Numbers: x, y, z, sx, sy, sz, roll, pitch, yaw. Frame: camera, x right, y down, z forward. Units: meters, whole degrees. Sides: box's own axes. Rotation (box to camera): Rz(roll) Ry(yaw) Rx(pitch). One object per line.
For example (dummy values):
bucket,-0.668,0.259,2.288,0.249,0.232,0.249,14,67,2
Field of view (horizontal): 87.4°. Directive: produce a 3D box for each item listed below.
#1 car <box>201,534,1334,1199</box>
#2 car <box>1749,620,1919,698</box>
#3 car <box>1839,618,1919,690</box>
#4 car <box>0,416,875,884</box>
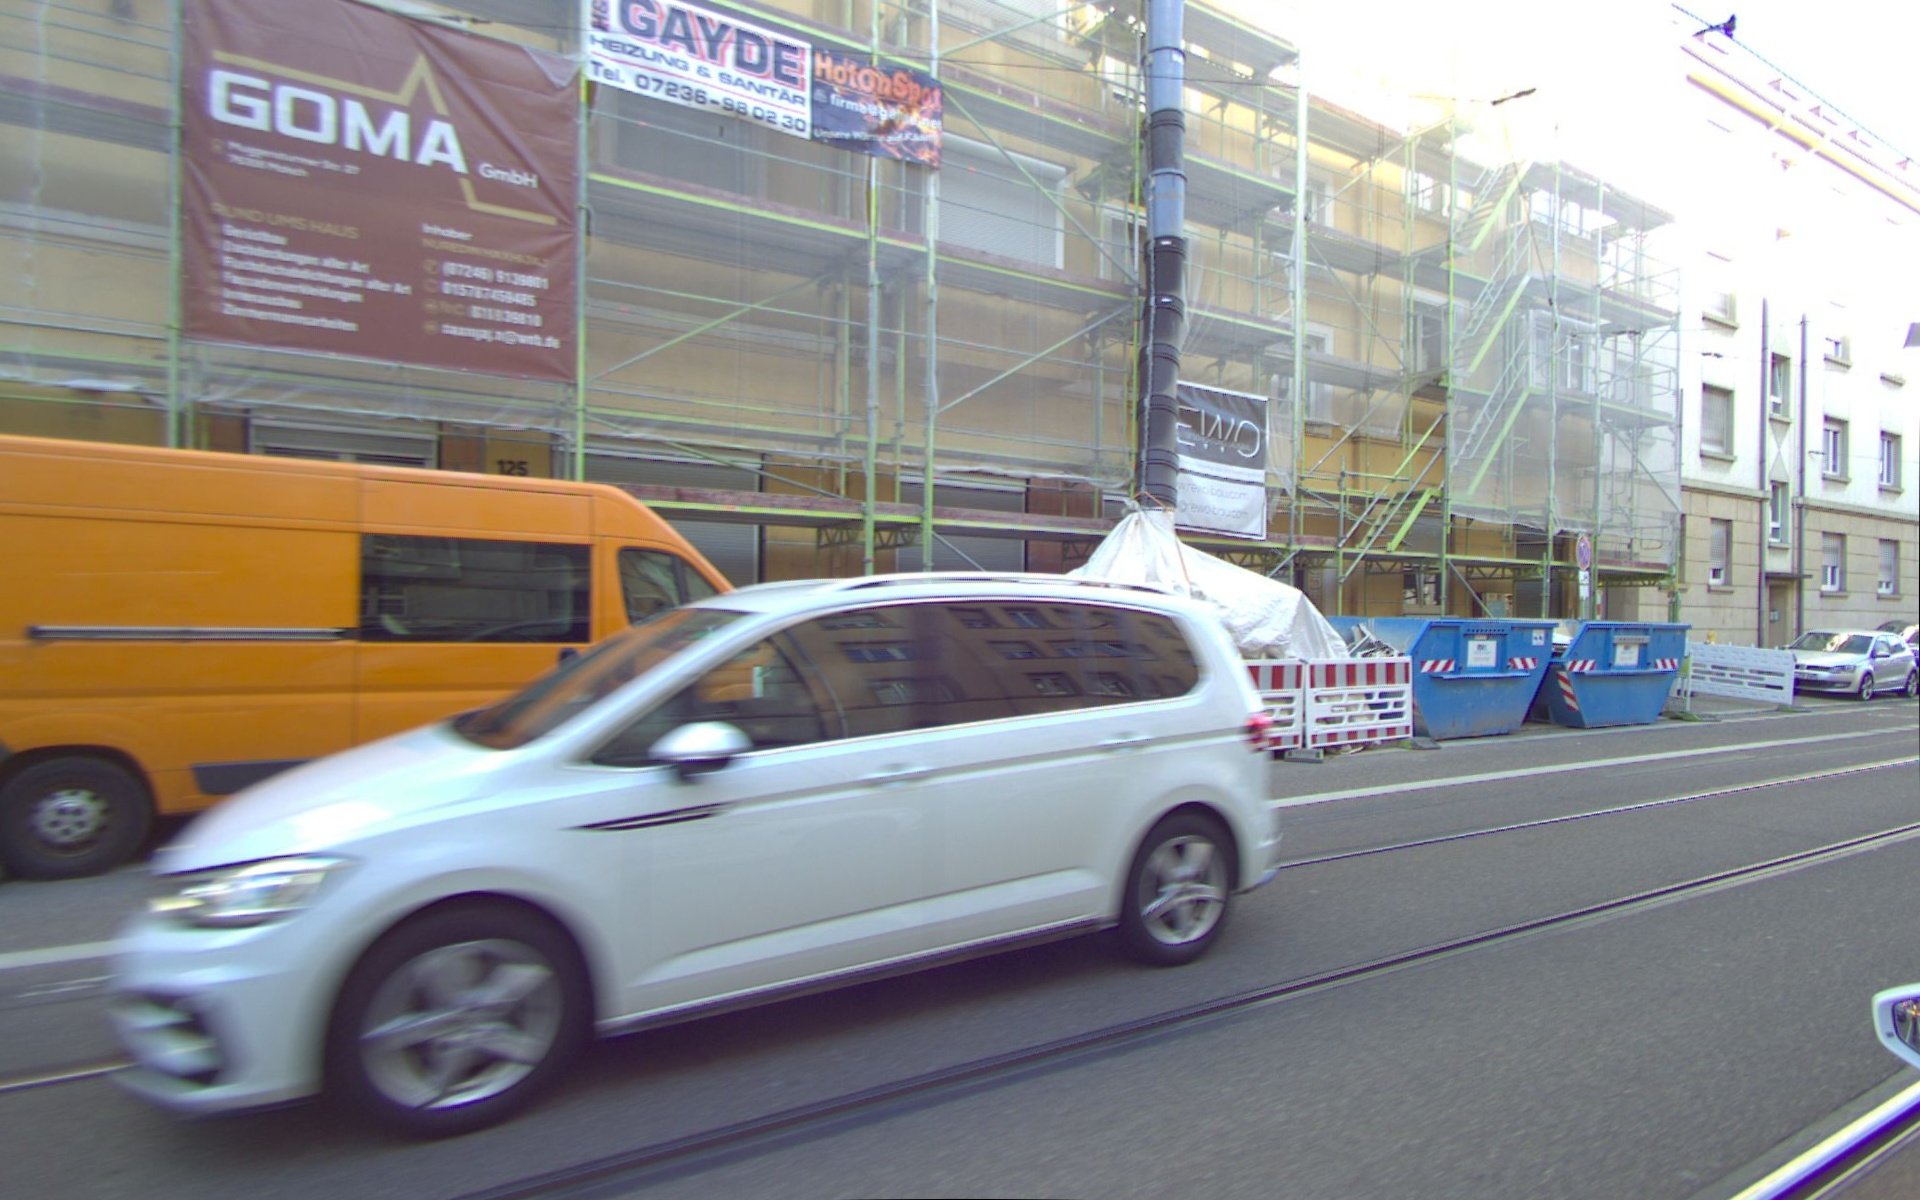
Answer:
car,-0.504,0.685,4.267,4.155,1.589,1.811,1,-1,-32
car,19.021,1.236,21.708,3.953,1.435,1.691,2,2,-30
car,22.968,1.255,23.999,4.354,1.588,1.691,1,-1,-30
car,-3.753,0.317,7.414,5.929,2.502,2.110,1,-1,-30
